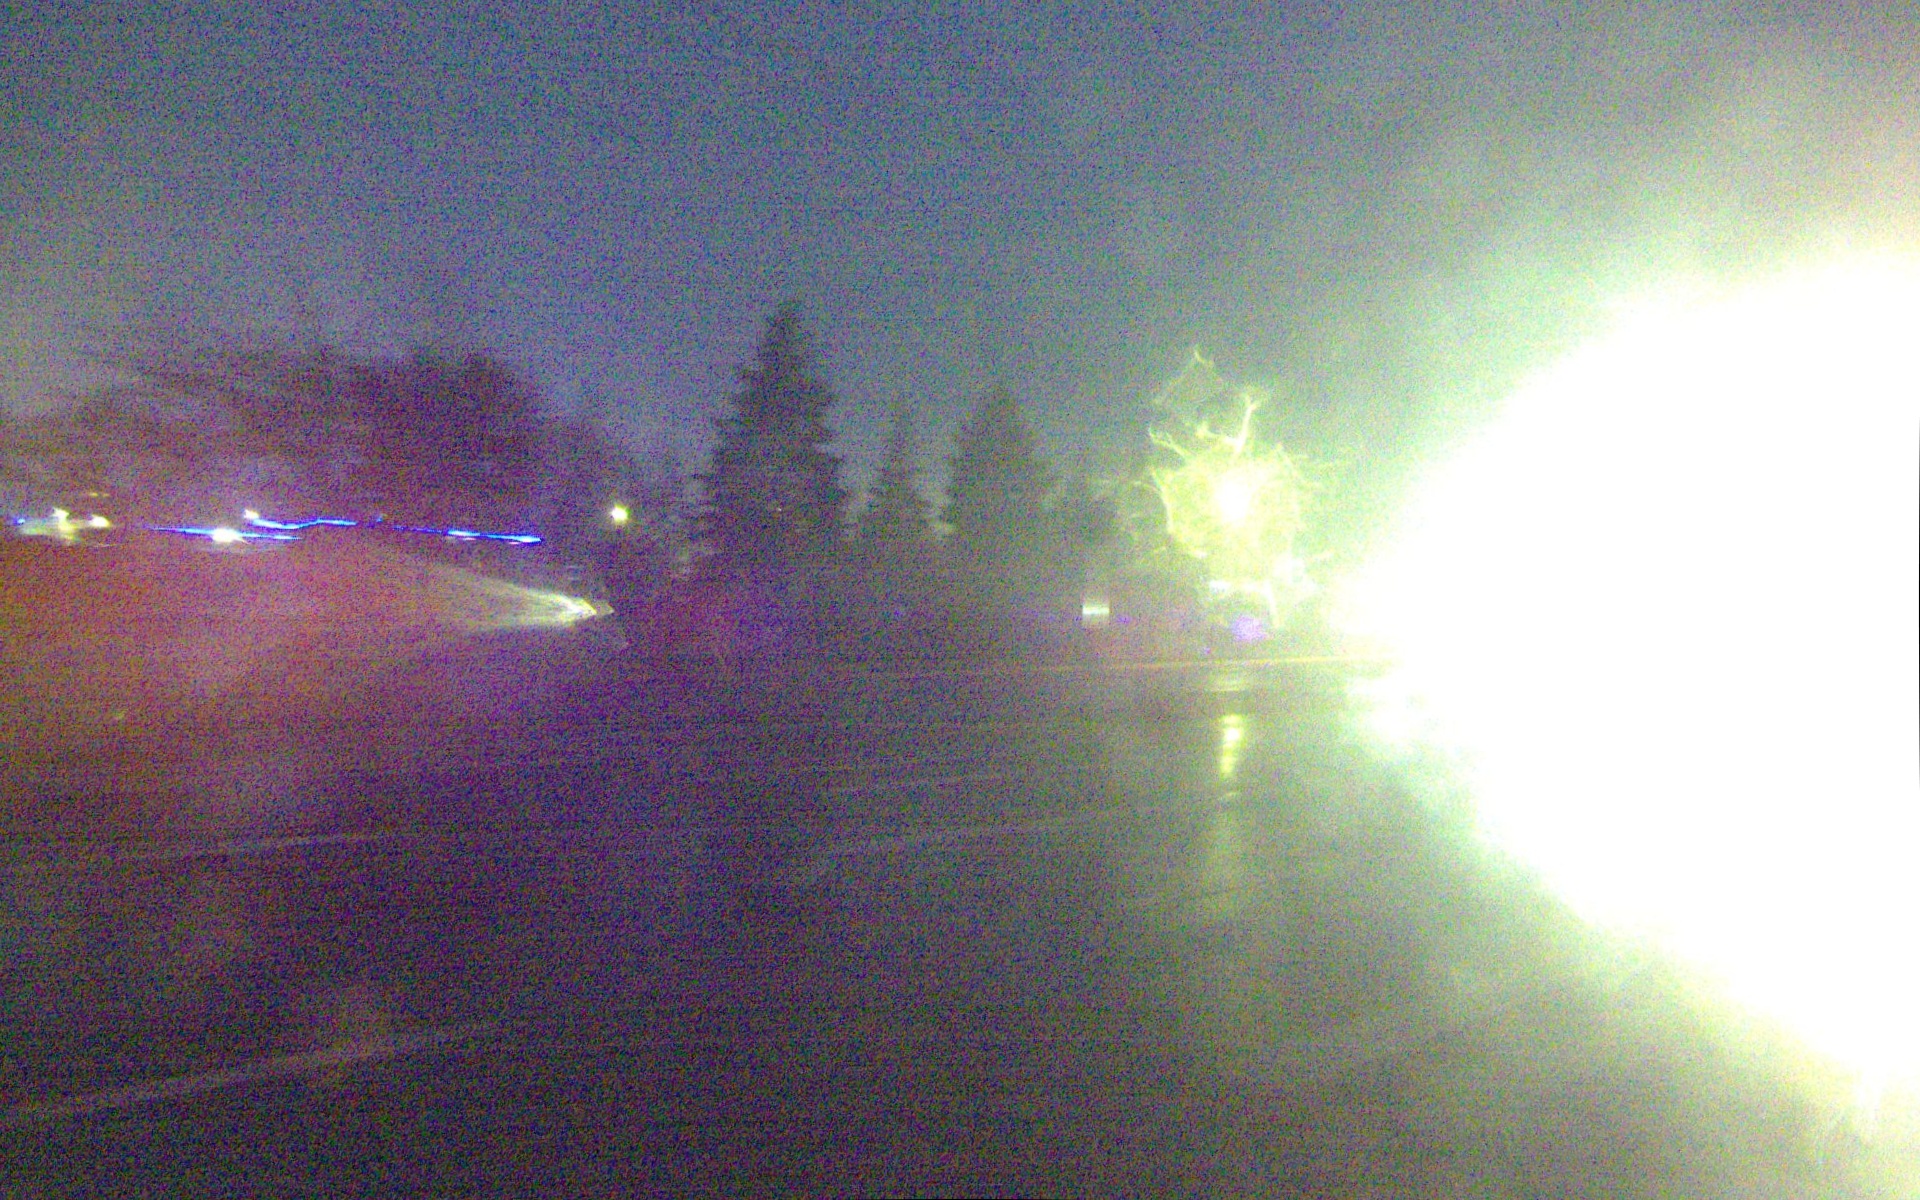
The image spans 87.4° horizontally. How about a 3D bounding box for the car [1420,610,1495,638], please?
[{"bbox_3d":[31.978,1.543,64.593,4.212,1.649,1.996,1,0,30],"label":"car"}]
